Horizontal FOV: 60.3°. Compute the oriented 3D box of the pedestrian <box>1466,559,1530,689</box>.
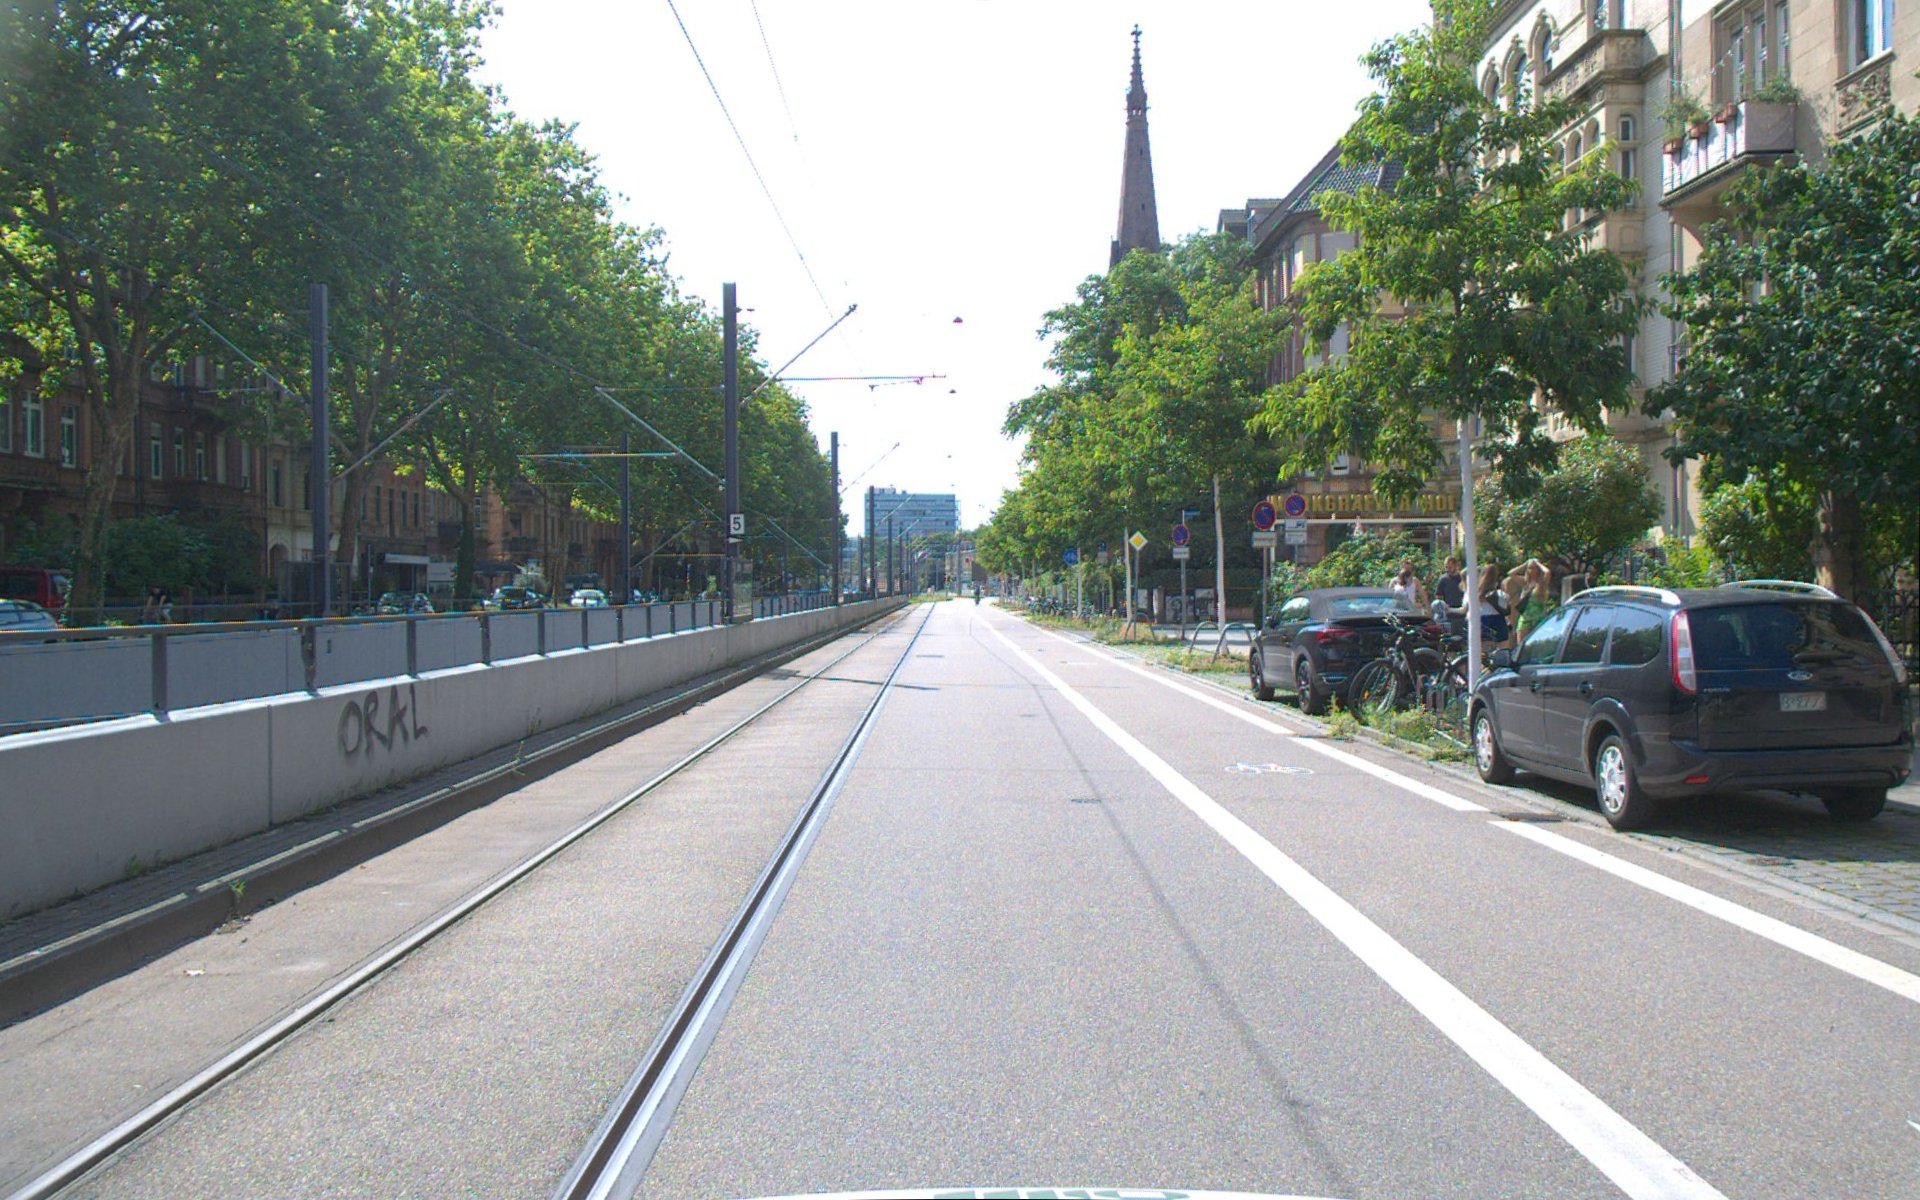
[{"bbox_3d":[7.272,0.316,22.376,0.520,1.705,0.571,-3,0,-19],"label":"pedestrian"}]

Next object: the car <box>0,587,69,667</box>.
[{"bbox_3d":[-19.028,0.559,31.787,1.610,1.508,4.001,-3,1,-1],"label":"car"}]

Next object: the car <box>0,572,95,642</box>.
[{"bbox_3d":[-27.625,0.197,47.663,4.313,1.952,1.999,0,0,-2],"label":"car"}]

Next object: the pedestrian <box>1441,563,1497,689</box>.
[{"bbox_3d":[7.157,0.359,23.275,0.493,1.736,0.493,-3,0,-19],"label":"pedestrian"}]

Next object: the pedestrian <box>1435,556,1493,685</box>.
[{"bbox_3d":[7.335,0.297,24.071,0.656,1.836,0.319,-3,0,-2],"label":"pedestrian"}]

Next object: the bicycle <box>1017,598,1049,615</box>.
[{"bbox_3d":[4.271,0.373,97.090,1.780,0.918,0.603,-3,1,-4],"label":"bicycle"}]

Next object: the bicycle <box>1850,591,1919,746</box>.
[{"bbox_3d":[8.377,0.583,13.417,0.644,1.270,2.942,-3,0,0],"label":"bicycle"}]

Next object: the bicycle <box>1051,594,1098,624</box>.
[{"bbox_3d":[4.731,0.368,68.254,1.784,1.165,0.650,-3,1,-12],"label":"bicycle"}]

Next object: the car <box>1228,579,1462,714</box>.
[{"bbox_3d":[5.002,0.538,22.133,1.763,1.553,4.486,-2,1,-4],"label":"car"}]

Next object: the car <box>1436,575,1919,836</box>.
[{"bbox_3d":[4.988,0.612,12.114,1.651,1.528,4.708,0,0,0],"label":"car"}]

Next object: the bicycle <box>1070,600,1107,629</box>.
[{"bbox_3d":[4.877,0.557,63.082,0.640,1.057,1.810,-3,1,-22],"label":"bicycle"}]

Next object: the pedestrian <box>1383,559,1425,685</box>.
[{"bbox_3d":[6.610,0.321,24.634,0.450,1.836,0.319,-3,0,-2],"label":"pedestrian"}]

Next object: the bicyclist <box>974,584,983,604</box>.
[{"bbox_3d":[1.620,-0.504,147.191,0.755,1.760,1.026,0,0,0],"label":"bicyclist"}]

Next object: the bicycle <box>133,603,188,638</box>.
[{"bbox_3d":[-22.569,0.566,46.747,0.524,0.929,2.148,0,0,0],"label":"bicycle"}]

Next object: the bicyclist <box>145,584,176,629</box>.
[{"bbox_3d":[-22.568,0.187,46.713,0.524,1.253,0.723,0,0,-1],"label":"bicyclist"}]

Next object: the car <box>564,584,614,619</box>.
[{"bbox_3d":[-20.225,0.060,90.339,1.801,1.758,4.000,-3,1,-1],"label":"car"}]

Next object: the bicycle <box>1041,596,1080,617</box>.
[{"bbox_3d":[4.900,0.334,80.898,1.780,0.918,0.651,-3,1,-4],"label":"bicycle"}]

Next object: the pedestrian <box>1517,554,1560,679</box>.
[{"bbox_3d":[8.211,0.233,23.498,0.376,1.736,0.431,-3,0,-1],"label":"pedestrian"}]

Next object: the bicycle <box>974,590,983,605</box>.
[{"bbox_3d":[1.621,-0.219,147.205,0.782,1.258,2.777,0,0,0],"label":"bicycle"}]

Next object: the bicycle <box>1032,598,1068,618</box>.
[{"bbox_3d":[4.683,0.424,85.831,1.780,0.918,0.603,-3,1,-4],"label":"bicycle"}]

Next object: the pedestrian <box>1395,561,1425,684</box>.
[{"bbox_3d":[6.456,0.315,23.732,0.311,1.736,0.461,-3,0,13],"label":"pedestrian"}]

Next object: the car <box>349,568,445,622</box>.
[{"bbox_3d":[-19.449,-0.207,57.282,1.682,1.720,3.733,-2,1,6],"label":"car"}]

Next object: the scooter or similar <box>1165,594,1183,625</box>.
[{"bbox_3d":[8.340,0.352,64.433,0.451,1.178,1.573,-2,0,0],"label":"scooter or similar"}]

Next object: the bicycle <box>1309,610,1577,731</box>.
[{"bbox_3d":[5.437,0.765,18.621,2.896,1.268,0.790,-1,0,-14],"label":"bicycle"}]

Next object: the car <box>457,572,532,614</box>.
[{"bbox_3d":[-20.263,-0.317,72.148,1.952,1.665,4.001,-3,1,1],"label":"car"}]
